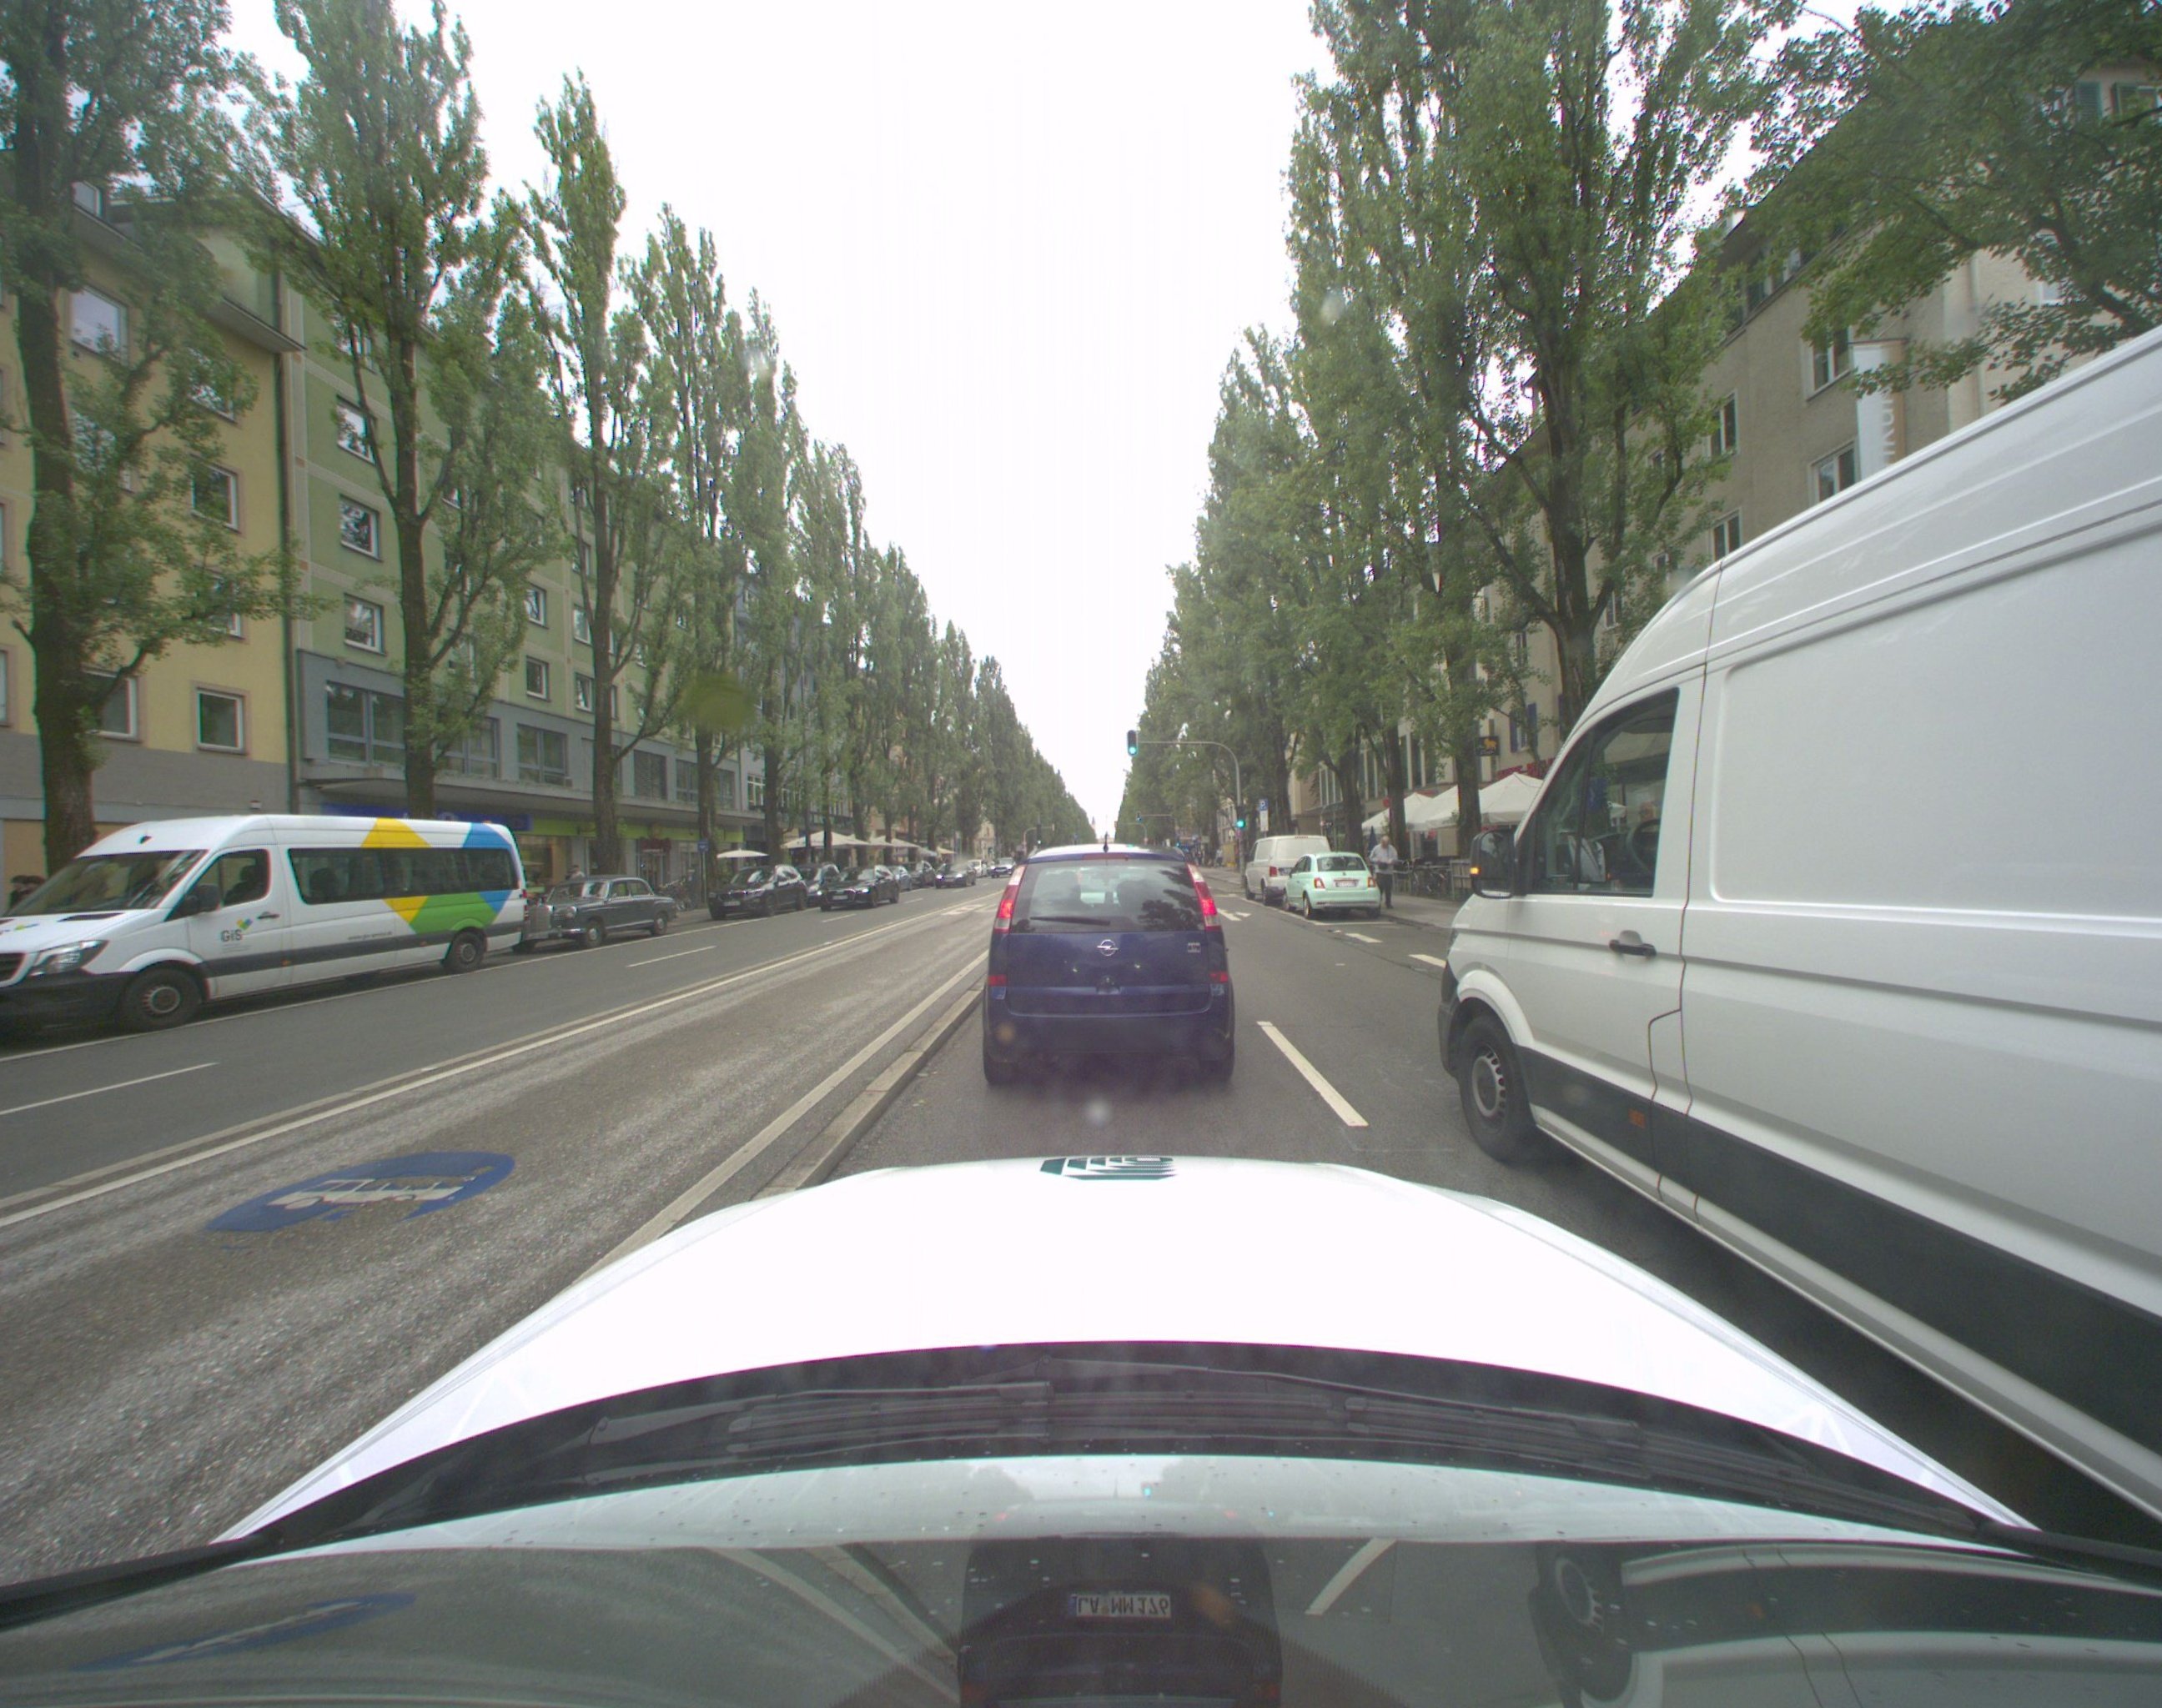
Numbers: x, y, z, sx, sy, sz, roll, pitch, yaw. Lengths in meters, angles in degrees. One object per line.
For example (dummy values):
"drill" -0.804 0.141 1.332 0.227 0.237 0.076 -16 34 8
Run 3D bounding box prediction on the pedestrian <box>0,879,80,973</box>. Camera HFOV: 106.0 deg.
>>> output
"pedestrian" -19.786 1.349 15.486 0.691 1.700 0.731 -3 0 23

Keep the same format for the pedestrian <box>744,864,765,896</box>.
"pedestrian" -17.810 1.410 44.426 0.753 1.686 0.675 -3 -1 3

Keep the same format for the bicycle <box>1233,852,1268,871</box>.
"bicycle" 11.897 0.523 57.179 2.220 1.204 0.626 -3 0 -1

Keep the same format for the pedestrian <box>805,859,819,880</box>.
"pedestrian" -18.774 1.091 56.851 0.763 1.410 0.799 0 -1 -3

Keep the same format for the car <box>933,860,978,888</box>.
"car" -7.289 1.135 47.684 1.739 1.434 4.131 -4 0 2

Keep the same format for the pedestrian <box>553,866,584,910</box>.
"pedestrian" -20.267 1.322 32.230 0.670 1.686 0.759 -3 -1 3

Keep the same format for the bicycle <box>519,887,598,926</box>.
"bicycle" -15.268 1.525 23.816 1.860 1.095 0.720 0 0 4

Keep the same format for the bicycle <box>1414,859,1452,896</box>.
"bicycle" 9.845 0.641 22.808 0.348 0.996 1.453 -4 -1 -2

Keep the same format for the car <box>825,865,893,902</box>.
"car" -10.322 1.325 38.261 1.792 1.488 4.352 -4 0 2

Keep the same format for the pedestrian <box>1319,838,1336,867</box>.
"pedestrian" 14.717 -0.068 48.662 0.671 1.686 0.758 -3 -1 -3

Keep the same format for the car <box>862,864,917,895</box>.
"car" -10.145 1.322 43.410 1.727 1.425 4.145 -4 0 2

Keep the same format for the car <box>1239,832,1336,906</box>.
"car" 6.044 0.403 24.375 1.781 1.946 4.732 -2 0 2

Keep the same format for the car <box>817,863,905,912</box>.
"car" -7.824 1.153 29.457 1.691 1.462 4.714 -4 0 2

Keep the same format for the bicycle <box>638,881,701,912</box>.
"bicycle" -15.210 1.557 30.118 1.943 1.095 0.718 0 0 -5

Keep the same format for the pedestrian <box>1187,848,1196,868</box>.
"pedestrian" 10.141 0.374 74.628 0.636 1.827 0.885 0 -1 -8

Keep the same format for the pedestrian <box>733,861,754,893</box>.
"pedestrian" -17.845 1.207 43.064 0.753 1.686 0.675 -3 -1 3

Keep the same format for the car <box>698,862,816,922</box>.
"car" -10.668 1.200 27.229 1.859 1.664 4.613 -4 0 2

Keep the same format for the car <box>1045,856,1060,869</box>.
"car" -4.573 1.325 131.215 1.986 2.013 4.001 -2 0 1

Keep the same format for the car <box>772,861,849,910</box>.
"car" -10.744 1.188 32.621 1.704 1.721 3.920 -4 0 -1

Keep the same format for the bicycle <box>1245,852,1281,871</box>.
"bicycle" 12.134 0.504 54.259 2.220 1.204 0.626 -3 0 -1

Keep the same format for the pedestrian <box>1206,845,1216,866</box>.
"pedestrian" 11.207 0.151 70.287 0.636 1.827 0.885 0 -1 -8

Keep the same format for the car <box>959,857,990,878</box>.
"car" -9.265 1.175 71.147 1.859 1.665 4.122 -4 0 2

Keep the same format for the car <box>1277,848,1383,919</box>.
"car" 5.787 0.651 19.287 1.535 1.492 3.525 -1 0 2

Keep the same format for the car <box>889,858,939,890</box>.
"car" -9.982 1.168 48.998 1.859 1.665 4.402 -4 0 2

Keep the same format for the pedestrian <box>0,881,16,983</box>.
"pedestrian" -18.468 1.323 13.425 0.753 1.686 0.786 -3 0 4

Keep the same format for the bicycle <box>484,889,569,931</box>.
"bicycle" -15.286 1.529 22.473 1.860 1.095 0.720 0 0 4

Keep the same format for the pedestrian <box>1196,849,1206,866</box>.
"pedestrian" 12.847 0.387 86.935 0.880 1.766 0.769 -2 0 -1

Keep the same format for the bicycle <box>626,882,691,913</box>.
"bicycle" -15.176 1.556 29.287 1.943 1.095 0.718 0 0 -5

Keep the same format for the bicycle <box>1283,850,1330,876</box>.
"bicycle" 11.691 0.461 42.286 2.220 1.204 0.626 -3 0 -1

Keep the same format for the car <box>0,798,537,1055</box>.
"car" -11.311 0.771 11.709 1.998 2.567 6.915 -4 0 2

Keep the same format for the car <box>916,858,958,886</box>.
"car" -9.752 1.178 55.419 1.859 1.665 4.122 -4 0 2

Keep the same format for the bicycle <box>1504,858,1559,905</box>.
"bicycle" 10.288 0.614 18.635 0.348 0.996 1.453 -4 -1 -2

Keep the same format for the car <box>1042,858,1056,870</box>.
"car" -4.966 1.541 126.488 1.859 1.665 4.122 -2 0 2

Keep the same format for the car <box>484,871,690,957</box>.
"car" -11.152 1.274 18.837 1.859 1.552 4.416 -4 0 2

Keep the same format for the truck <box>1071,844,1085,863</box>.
"truck" -0.499 -0.100 154.513 2.374 3.346 7.113 -2 0 2

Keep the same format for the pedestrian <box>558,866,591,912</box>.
"pedestrian" -19.036 1.296 30.600 0.753 1.686 0.675 -3 -1 3

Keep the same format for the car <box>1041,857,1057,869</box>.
"car" -4.698 1.320 120.060 1.859 1.665 4.122 -2 0 2

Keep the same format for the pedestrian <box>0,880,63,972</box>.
"pedestrian" -20.453 1.383 15.757 0.691 1.700 0.731 -3 0 23

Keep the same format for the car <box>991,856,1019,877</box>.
"car" -6.388 1.012 69.003 1.764 1.635 4.456 -3 0 1

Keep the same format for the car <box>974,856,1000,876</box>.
"car" -9.032 1.139 78.423 1.859 1.665 4.122 -4 0 2

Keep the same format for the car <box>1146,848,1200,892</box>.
"car" 3.700 0.617 33.356 1.889 1.622 4.002 -1 0 2

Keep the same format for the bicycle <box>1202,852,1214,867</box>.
"bicycle" 11.728 0.535 75.438 0.769 1.349 2.450 -2 0 1

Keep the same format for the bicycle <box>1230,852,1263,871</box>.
"bicycle" 11.917 0.529 58.558 2.220 1.204 0.626 -3 0 -1

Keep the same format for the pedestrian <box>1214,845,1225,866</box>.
"pedestrian" 11.985 0.141 70.419 0.719 1.827 0.885 0 -1 -8

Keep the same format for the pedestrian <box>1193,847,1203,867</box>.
"pedestrian" 10.771 0.240 74.812 0.636 1.827 0.885 0 -1 -8

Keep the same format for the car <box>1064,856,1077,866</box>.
"car" -1.606 1.038 125.096 1.728 1.465 3.366 -2 0 2

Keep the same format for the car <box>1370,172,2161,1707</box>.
"car" 2.712 0.187 1.649 2.055 2.492 6.733 -1 0 2

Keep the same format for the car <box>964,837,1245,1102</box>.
"car" 0.212 0.700 6.931 1.665 1.568 4.002 -1 0 2

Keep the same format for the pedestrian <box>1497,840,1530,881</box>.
"pedestrian" 14.353 0.217 27.021 0.636 1.324 0.800 -2 0 1

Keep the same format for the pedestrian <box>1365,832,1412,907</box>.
"pedestrian" 7.439 0.368 19.763 0.823 1.773 0.872 -2 0 6
